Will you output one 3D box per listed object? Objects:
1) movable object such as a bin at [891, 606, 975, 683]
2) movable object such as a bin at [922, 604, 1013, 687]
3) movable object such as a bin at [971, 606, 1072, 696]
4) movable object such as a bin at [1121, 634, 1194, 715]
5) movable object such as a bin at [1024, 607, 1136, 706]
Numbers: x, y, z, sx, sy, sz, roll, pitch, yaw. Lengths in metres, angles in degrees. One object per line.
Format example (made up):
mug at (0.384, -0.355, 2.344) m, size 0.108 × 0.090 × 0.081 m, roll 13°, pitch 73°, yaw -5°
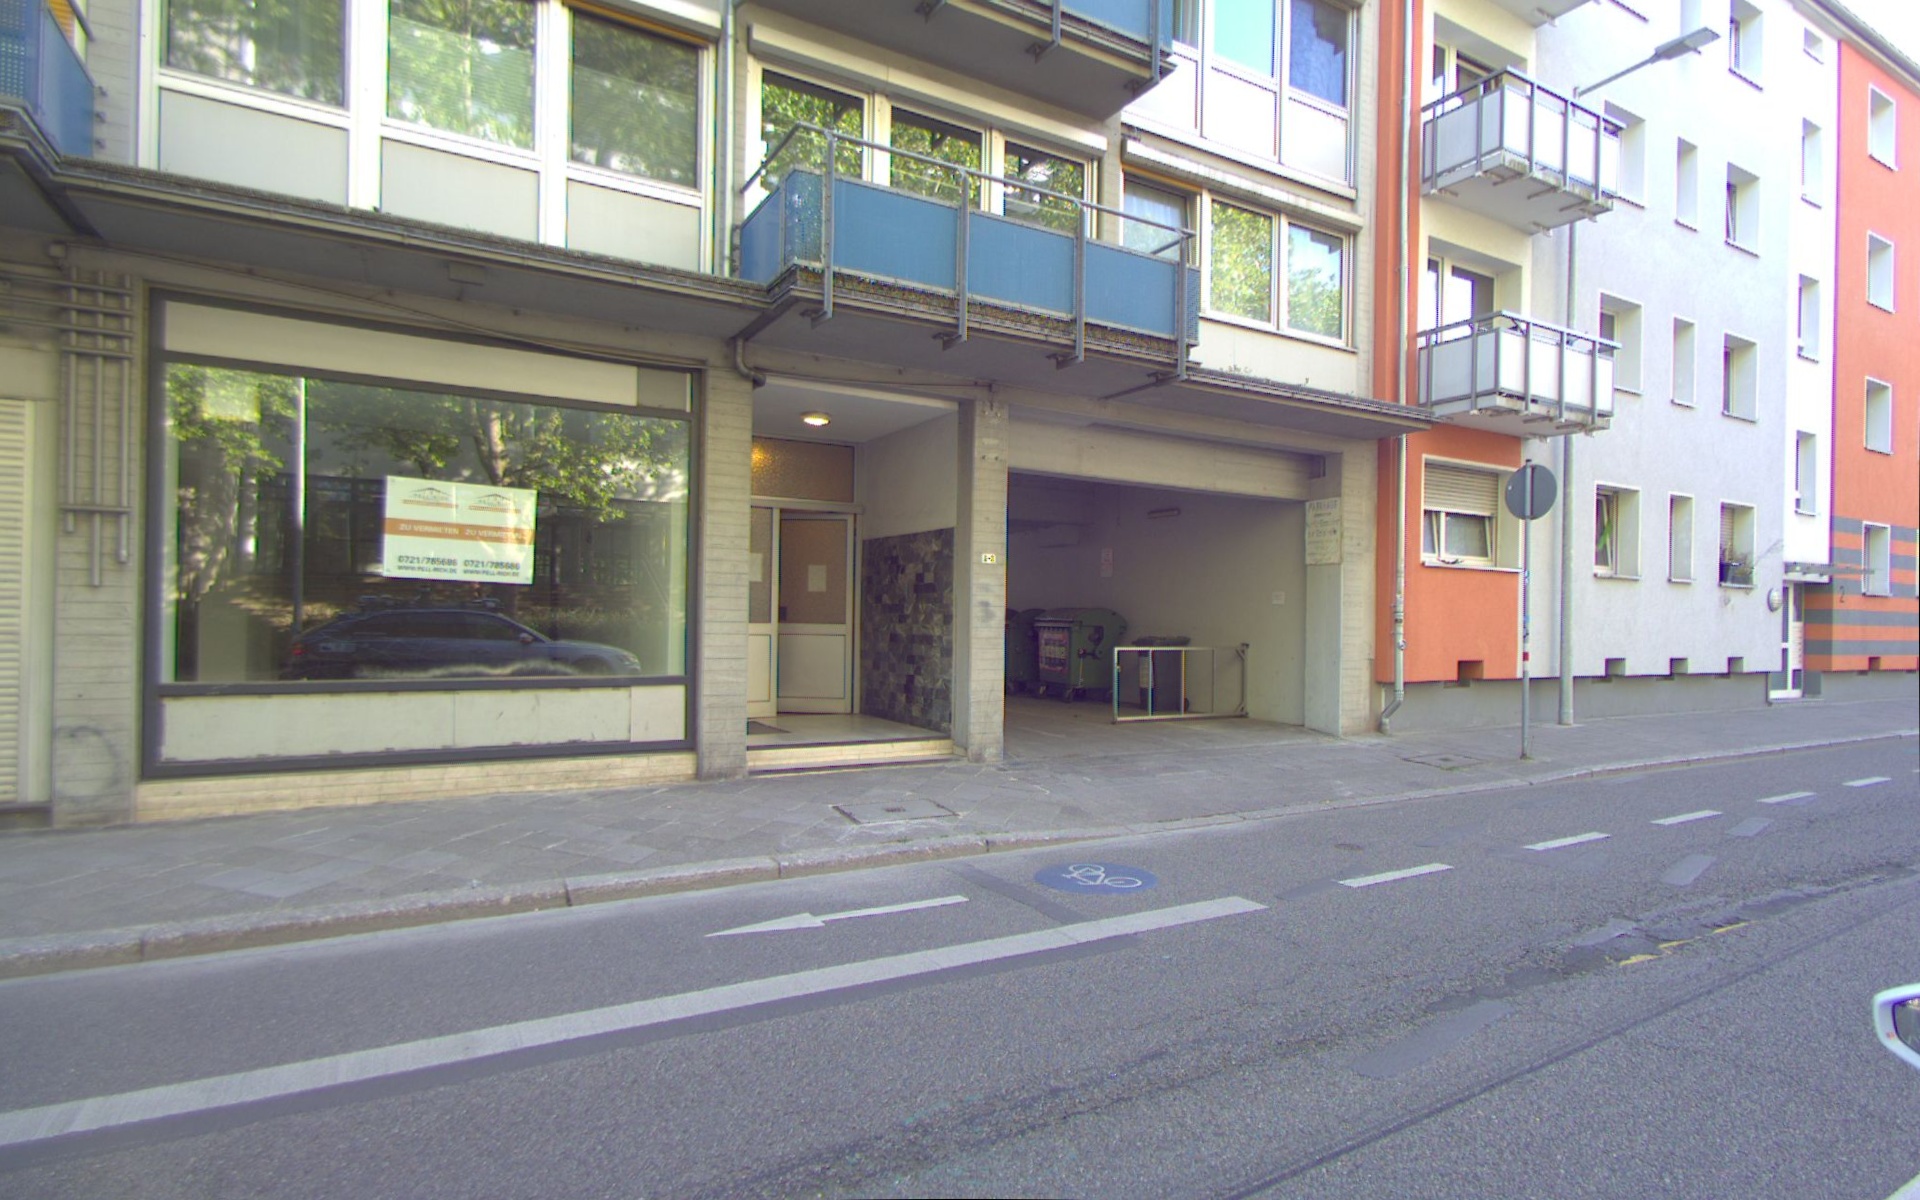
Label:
movable object such as a bin at (-0.545, 0.861, 19.931) m, size 1.182 × 1.452 × 1.300 m, roll 2°, pitch 0°, yaw -30°
movable object such as a bin at (0.122, 0.830, 18.767) m, size 1.182 × 1.452 × 1.300 m, roll 2°, pitch 0°, yaw -30°
movable object such as a bin at (1.035, 0.850, 17.193) m, size 1.182 × 1.452 × 1.300 m, roll 2°, pitch 0°, yaw -30°
movable object such as a bin at (2.853, 1.061, 14.523) m, size 0.707 × 1.089 × 0.735 m, roll 2°, pitch 0°, yaw -30°
movable object such as a bin at (1.876, 0.868, 15.806) m, size 1.182 × 1.452 × 1.300 m, roll 2°, pitch 0°, yaw -30°
